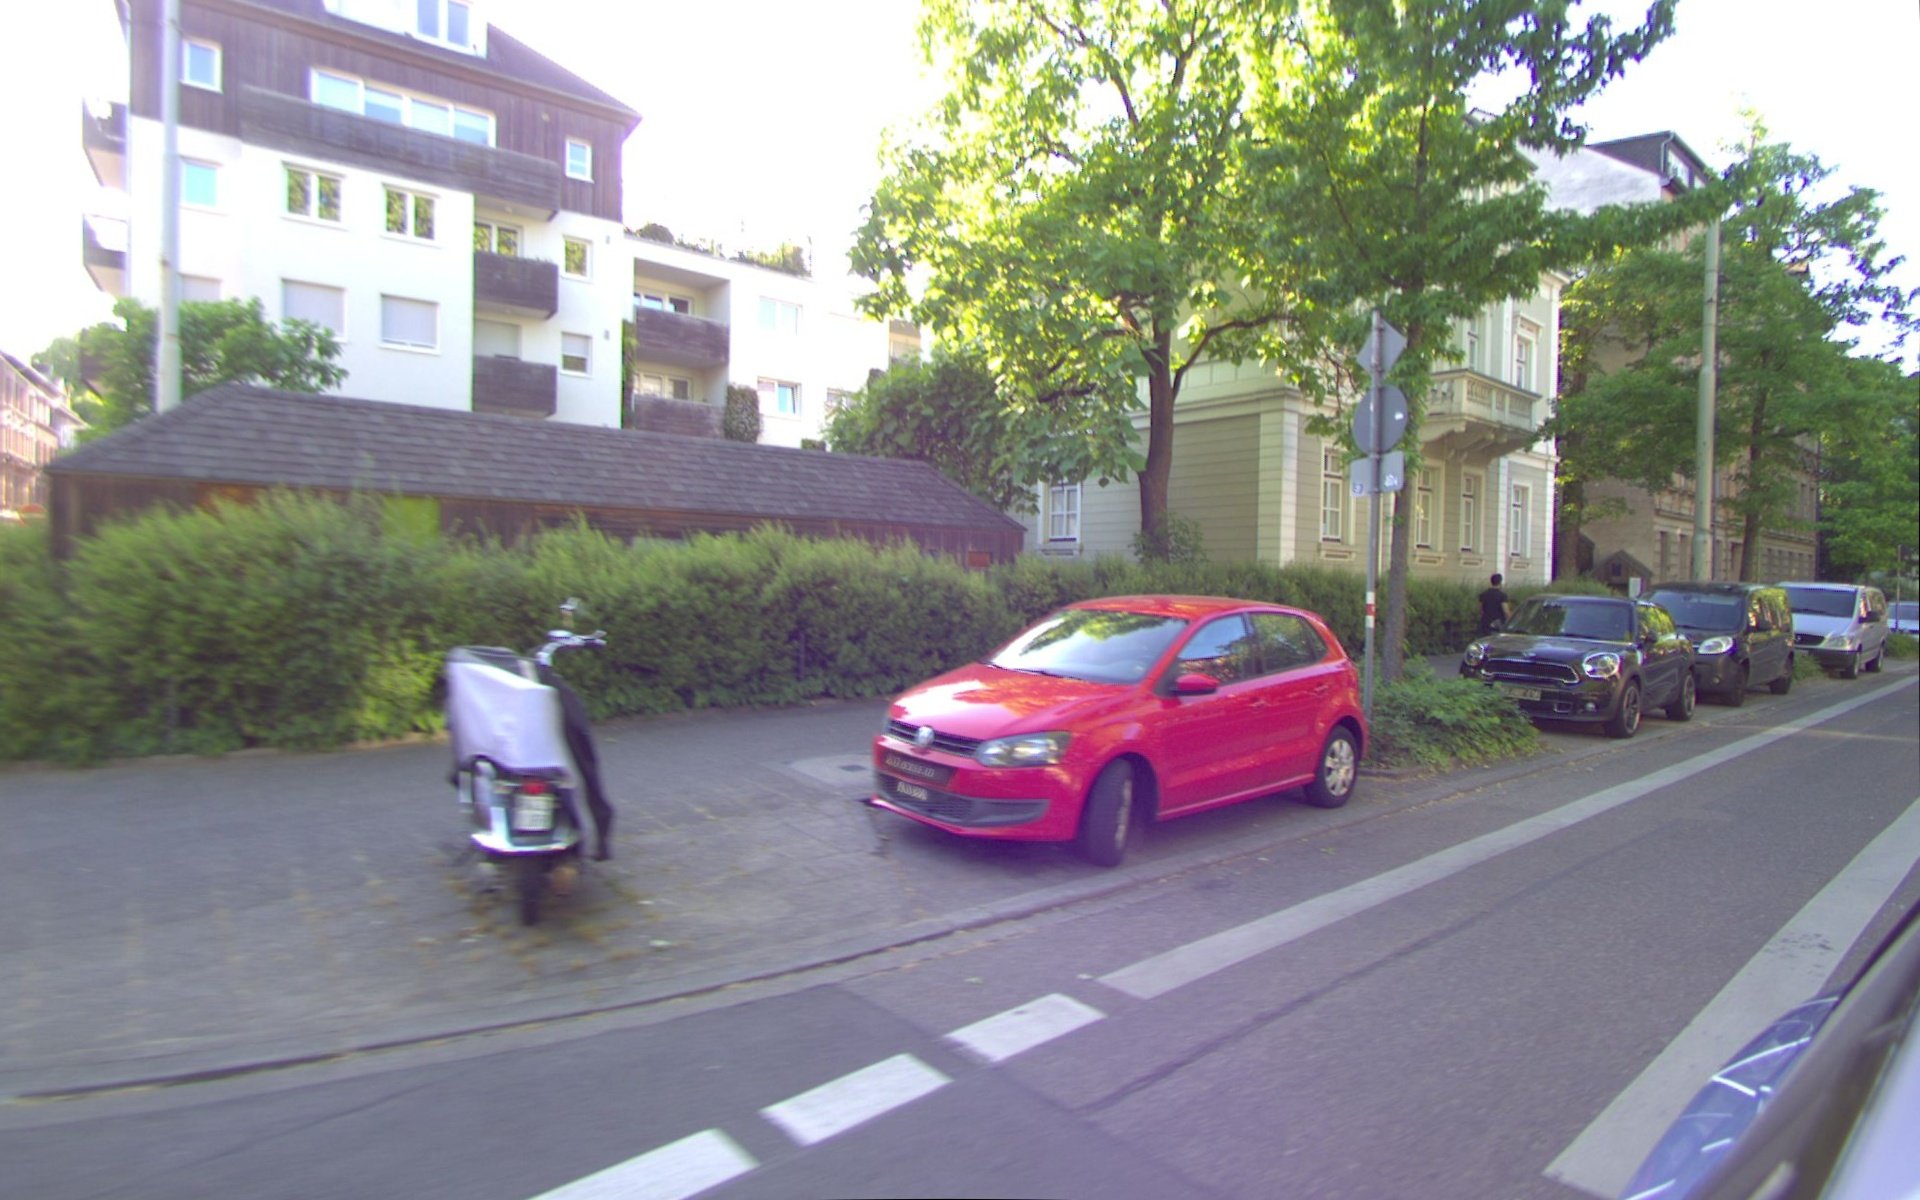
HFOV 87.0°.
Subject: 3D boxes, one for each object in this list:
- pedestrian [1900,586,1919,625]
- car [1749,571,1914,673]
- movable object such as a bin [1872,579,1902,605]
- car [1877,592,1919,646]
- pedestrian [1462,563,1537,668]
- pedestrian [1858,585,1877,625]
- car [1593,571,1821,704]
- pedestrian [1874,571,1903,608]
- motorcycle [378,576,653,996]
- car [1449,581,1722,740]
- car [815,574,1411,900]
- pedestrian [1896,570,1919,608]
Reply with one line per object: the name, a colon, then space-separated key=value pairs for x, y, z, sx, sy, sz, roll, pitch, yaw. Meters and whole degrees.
pedestrian: x=43.826 y=0.253 z=46.527 sx=0.841 sy=1.730 sz=0.728 roll=0 pitch=2 yaw=-39
car: x=18.847 y=0.391 z=21.798 sx=4.880 sy=1.873 sz=1.888 roll=0 pitch=4 yaw=-41
movable object such as a bin: x=45.223 y=-0.397 z=49.359 sx=1.278 sy=1.217 sz=0.642 roll=1 pitch=2 yaw=-30
car: x=30.504 y=0.588 z=31.824 sx=4.167 sy=1.587 sz=1.889 roll=0 pitch=4 yaw=-41
pedestrian: x=9.335 y=0.258 z=17.511 sx=0.821 sy=1.732 sz=0.831 roll=2 pitch=2 yaw=-44
pedestrian: x=41.749 y=0.222 z=46.548 sx=0.716 sy=1.815 sz=0.599 roll=0 pitch=0 yaw=-43
car: x=11.936 y=0.482 z=16.048 sx=4.596 sy=1.788 sz=1.890 roll=0 pitch=2 yaw=-41
pedestrian: x=45.985 y=-0.527 z=50.124 sx=0.948 sy=1.815 sz=0.729 roll=1 pitch=2 yaw=-29
motorcycle: x=-2.002 y=0.621 z=4.624 sx=0.904 sy=1.375 sz=2.102 roll=0 pitch=3 yaw=-23
car: x=7.692 y=0.594 z=12.303 sx=3.967 sy=1.532 sz=1.715 roll=-1 pitch=4 yaw=-42
car: x=1.183 y=0.628 z=6.708 sx=3.908 sy=1.440 sz=1.707 roll=0 pitch=5 yaw=-41
pedestrian: x=46.563 y=-0.518 z=49.588 sx=0.836 sy=1.815 sz=0.729 roll=1 pitch=2 yaw=-29
